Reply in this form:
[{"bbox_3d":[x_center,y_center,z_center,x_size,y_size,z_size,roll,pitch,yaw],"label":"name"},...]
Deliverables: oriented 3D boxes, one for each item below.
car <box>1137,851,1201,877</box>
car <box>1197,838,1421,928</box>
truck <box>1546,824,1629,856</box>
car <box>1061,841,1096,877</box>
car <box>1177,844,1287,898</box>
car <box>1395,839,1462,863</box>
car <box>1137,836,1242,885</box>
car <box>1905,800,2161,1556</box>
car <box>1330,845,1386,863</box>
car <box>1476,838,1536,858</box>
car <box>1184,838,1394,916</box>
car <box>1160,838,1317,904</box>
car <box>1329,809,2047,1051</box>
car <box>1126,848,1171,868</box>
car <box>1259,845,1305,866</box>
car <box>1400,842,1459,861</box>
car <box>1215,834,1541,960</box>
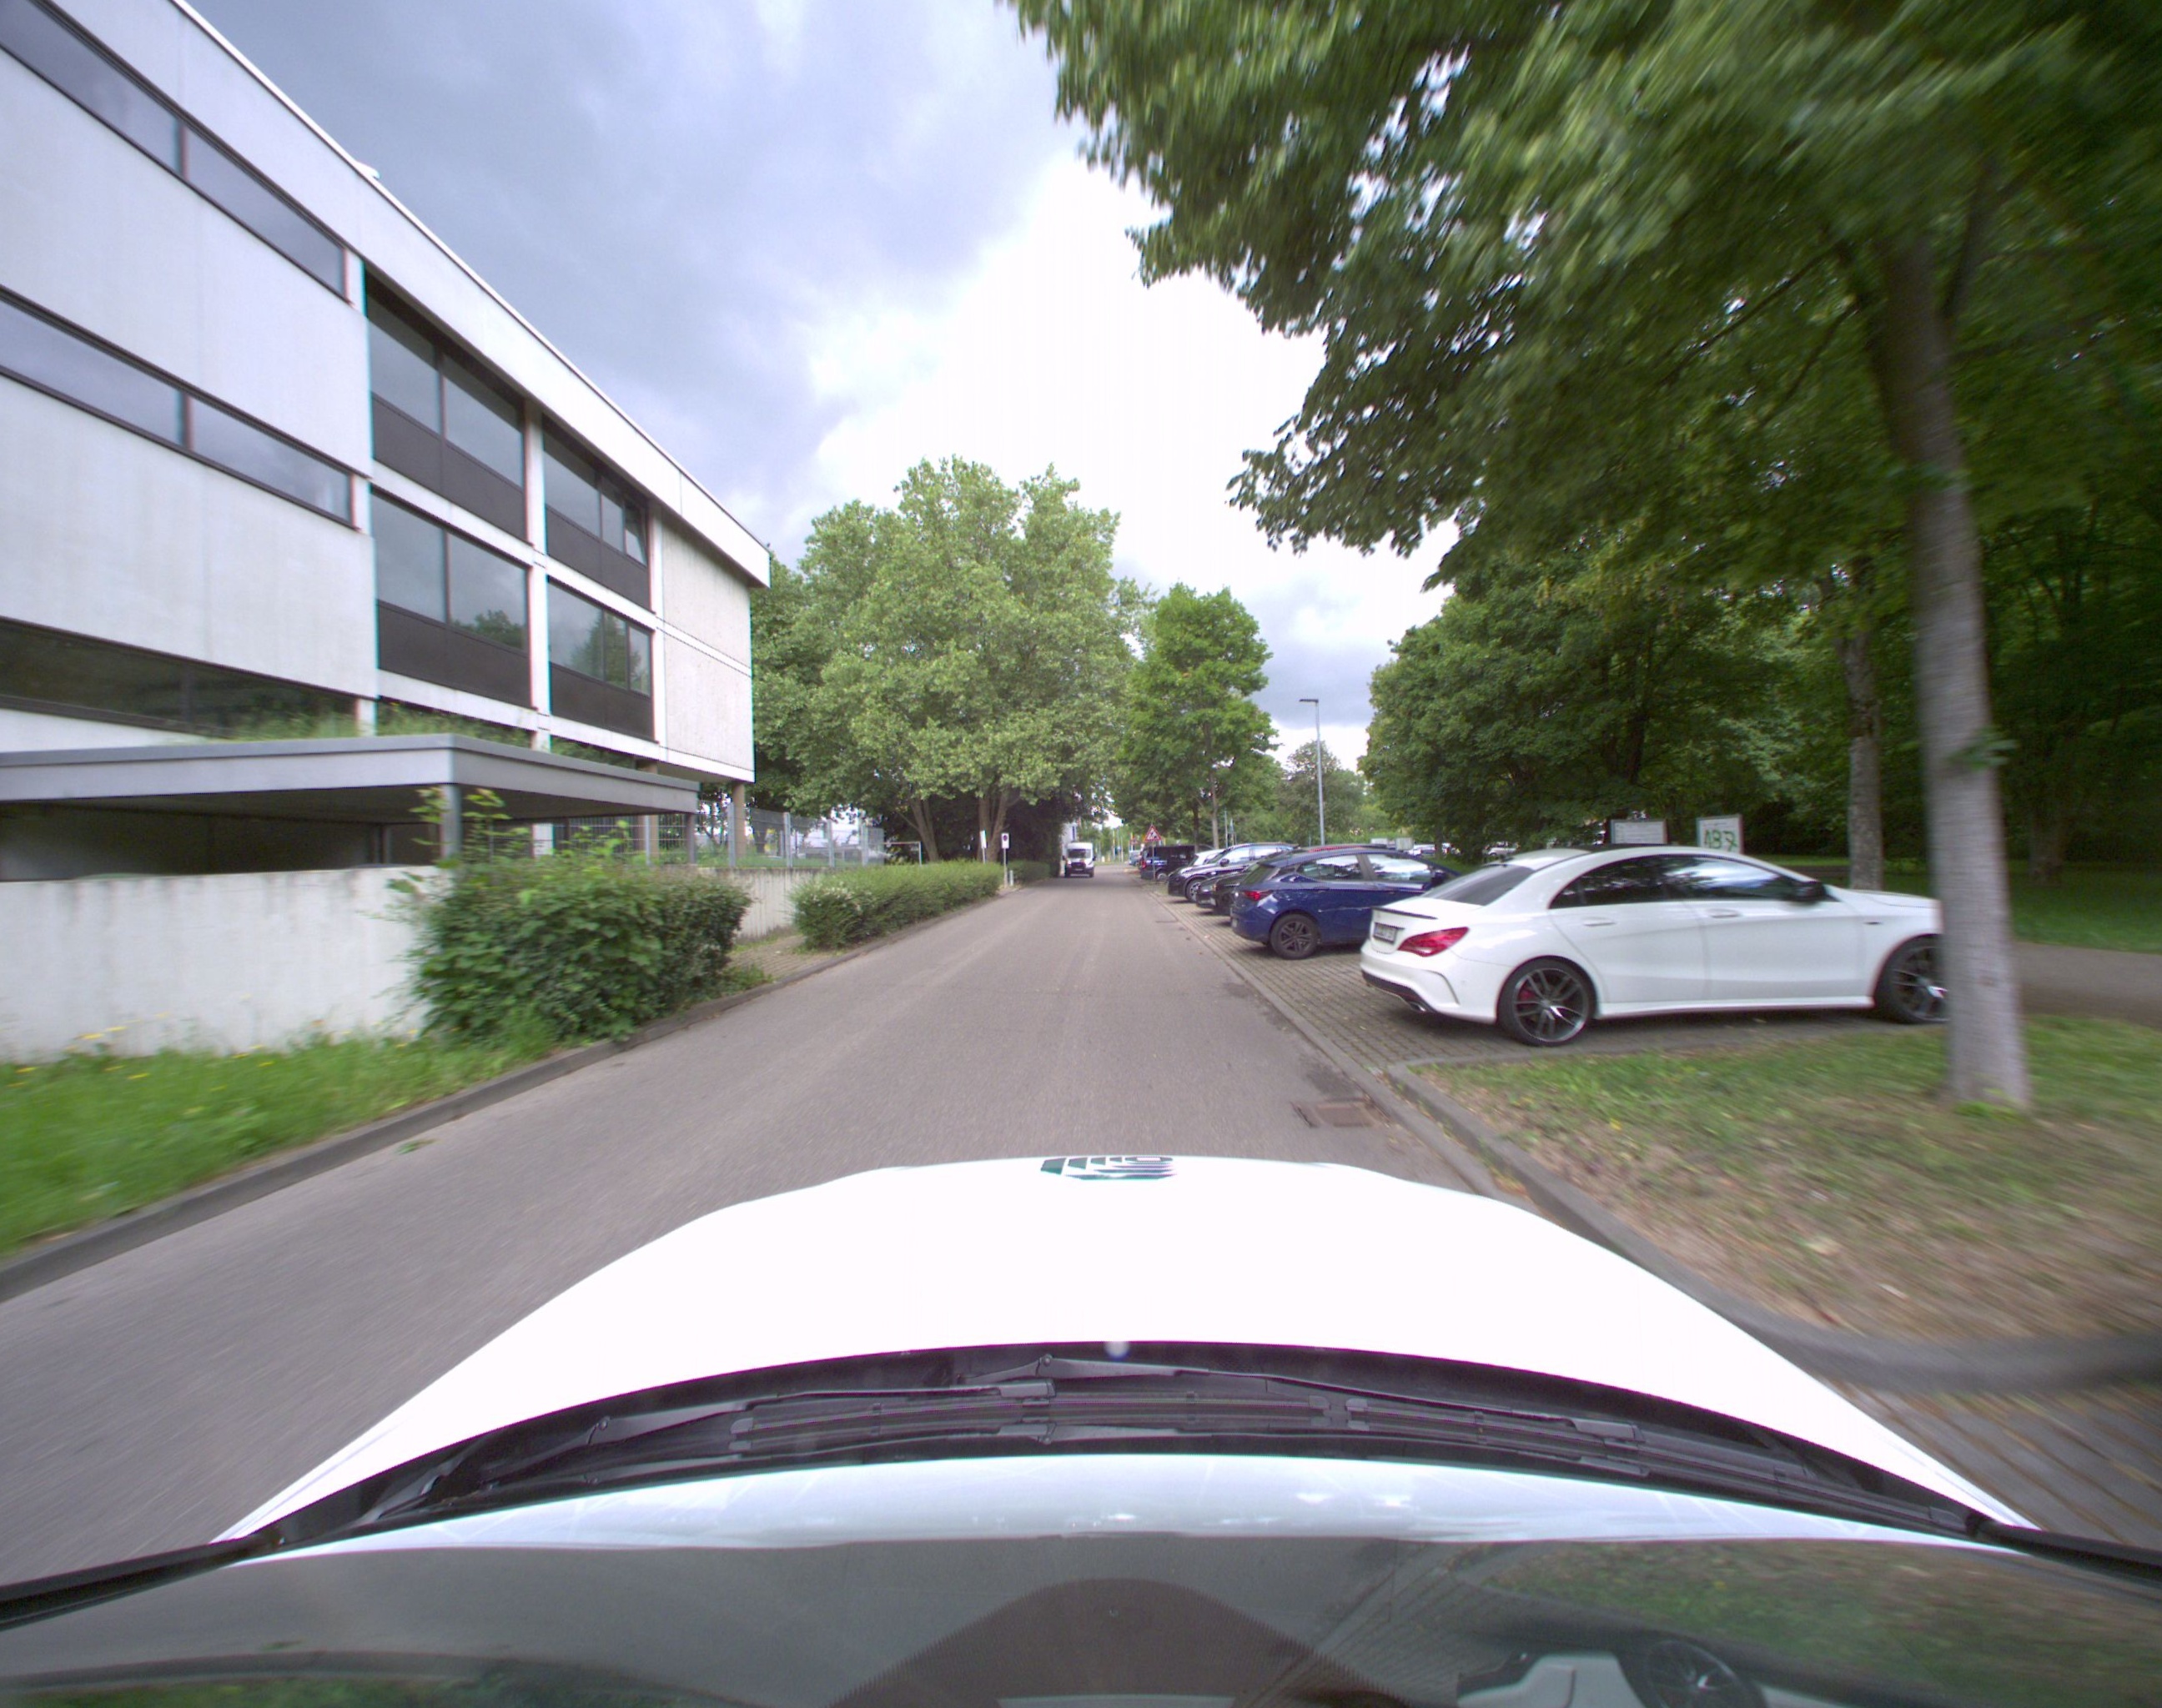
[{"bbox_3d":[5.691,0.672,53.205,3.973,1.430,1.936,-3,-1,1],"label":"car"},{"bbox_3d":[4.625,0.567,16.959,4.062,1.517,1.849,-4,-1,-2],"label":"car"},{"bbox_3d":[42.986,-1.161,69.215,5.475,2.426,2.198,-2,-1,8],"label":"truck"},{"bbox_3d":[-0.118,0.326,59.017,2.123,2.476,6.282,-1,0,3],"label":"car"},{"bbox_3d":[5.068,0.542,27.611,3.366,1.574,1.797,-4,0,2],"label":"car"},{"bbox_3d":[32.252,-0.254,75.703,5.289,2.057,2.142,-2,-1,8],"label":"car"},{"bbox_3d":[5.306,0.333,40.447,4.934,2.013,2.167,-4,0,2],"label":"car"},{"bbox_3d":[3.992,0.536,1.021,3.823,1.515,1.883,-4,-1,4],"label":"car"},{"bbox_3d":[24.270,-0.010,71.531,4.368,1.428,1.707,-2,-1,7],"label":"car"},{"bbox_3d":[36.495,-0.528,70.021,4.258,1.526,1.707,-2,-1,8],"label":"car"},{"bbox_3d":[4.939,0.533,19.865,4.617,1.517,1.984,-4,0,3],"label":"car"},{"bbox_3d":[4.727,0.487,24.997,4.399,1.676,2.083,-4,0,1],"label":"car"},{"bbox_3d":[4.580,0.551,6.726,4.469,1.454,1.847,-4,-1,1],"label":"car"},{"bbox_3d":[7.730,0.414,93.763,4.952,1.972,1.848,-4,-1,2],"label":"car"},{"bbox_3d":[17.815,0.128,72.346,3.757,1.668,1.772,-2,-1,9],"label":"car"},{"bbox_3d":[30.285,-0.211,70.817,4.403,1.428,1.707,-2,-1,8],"label":"car"},{"bbox_3d":[4.154,0.594,11.924,4.056,1.456,1.852,-4,-1,2],"label":"car"}]
